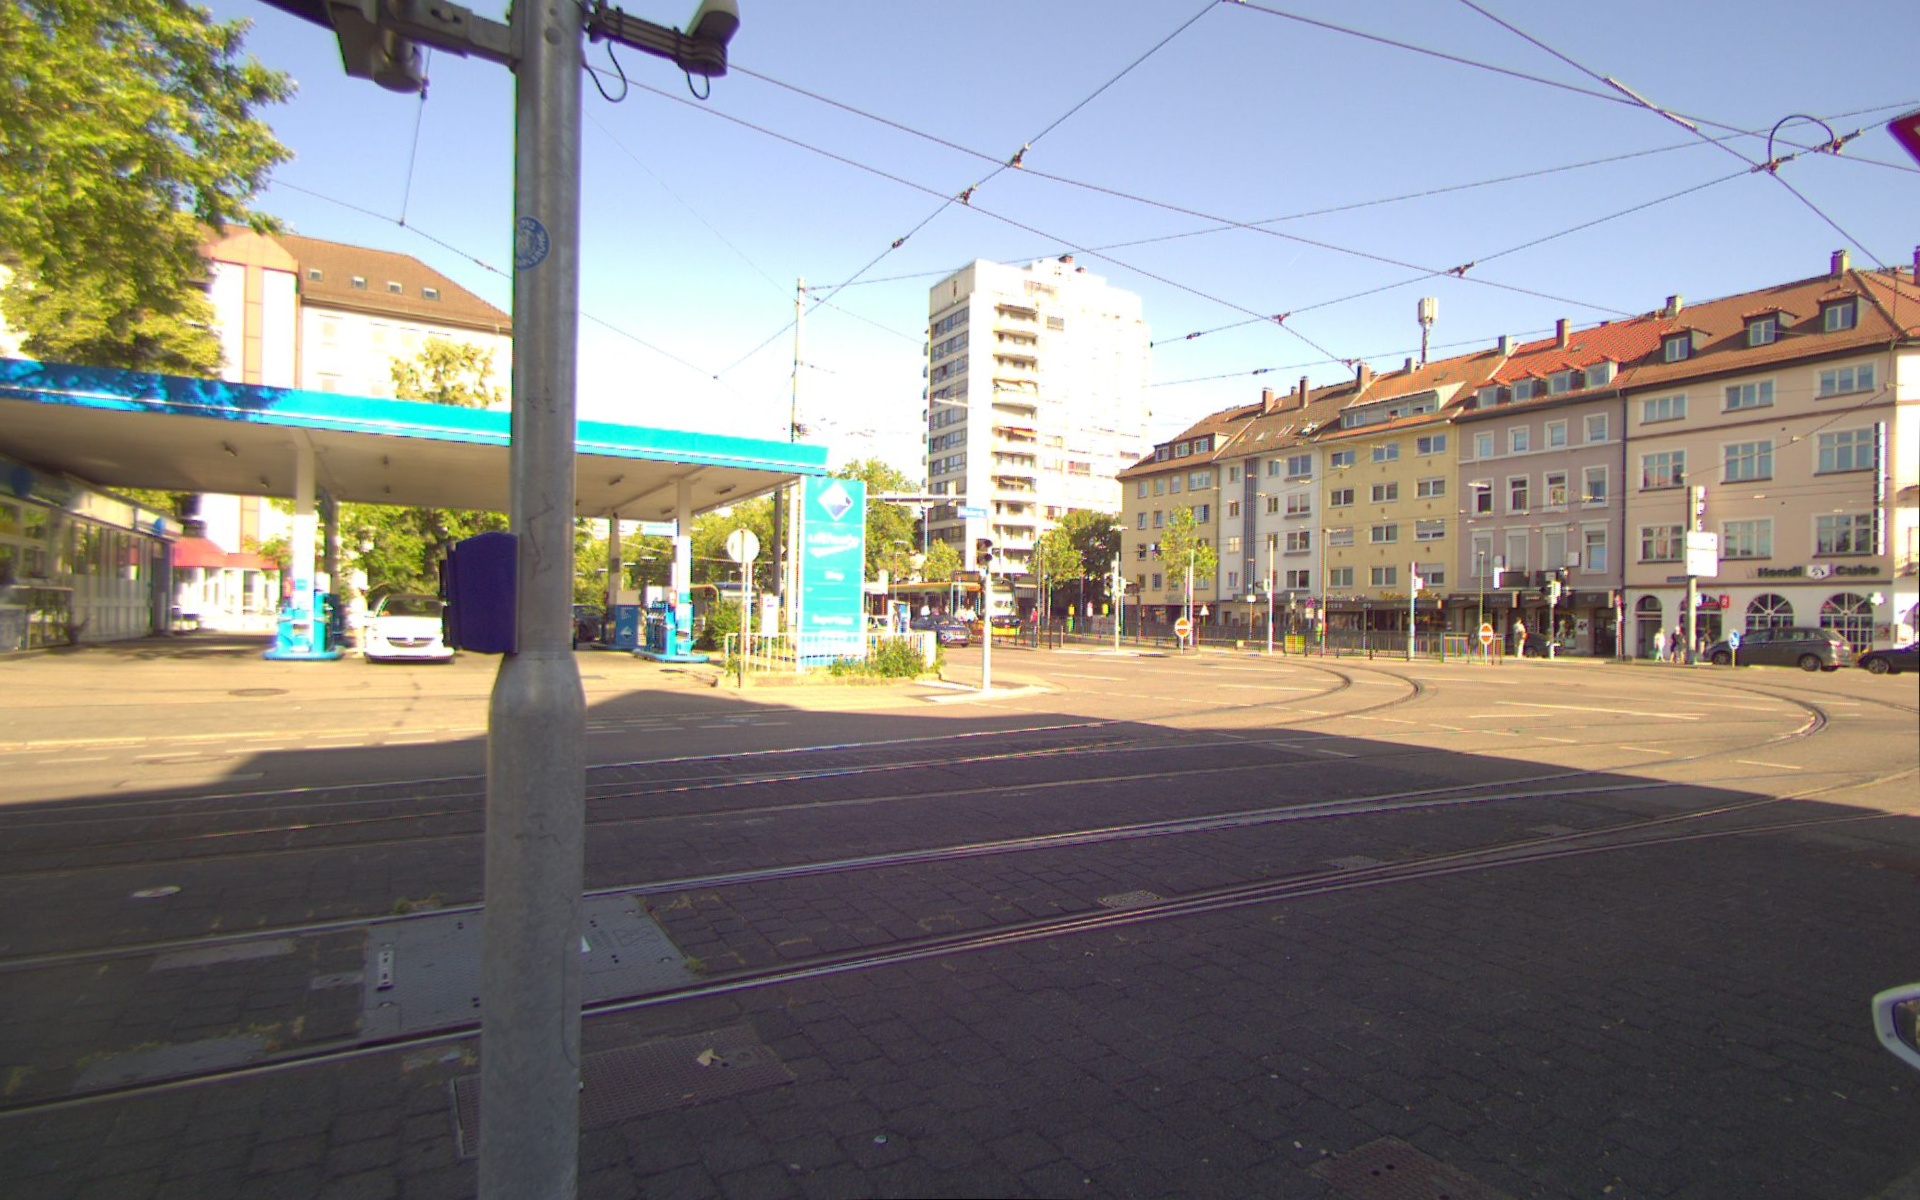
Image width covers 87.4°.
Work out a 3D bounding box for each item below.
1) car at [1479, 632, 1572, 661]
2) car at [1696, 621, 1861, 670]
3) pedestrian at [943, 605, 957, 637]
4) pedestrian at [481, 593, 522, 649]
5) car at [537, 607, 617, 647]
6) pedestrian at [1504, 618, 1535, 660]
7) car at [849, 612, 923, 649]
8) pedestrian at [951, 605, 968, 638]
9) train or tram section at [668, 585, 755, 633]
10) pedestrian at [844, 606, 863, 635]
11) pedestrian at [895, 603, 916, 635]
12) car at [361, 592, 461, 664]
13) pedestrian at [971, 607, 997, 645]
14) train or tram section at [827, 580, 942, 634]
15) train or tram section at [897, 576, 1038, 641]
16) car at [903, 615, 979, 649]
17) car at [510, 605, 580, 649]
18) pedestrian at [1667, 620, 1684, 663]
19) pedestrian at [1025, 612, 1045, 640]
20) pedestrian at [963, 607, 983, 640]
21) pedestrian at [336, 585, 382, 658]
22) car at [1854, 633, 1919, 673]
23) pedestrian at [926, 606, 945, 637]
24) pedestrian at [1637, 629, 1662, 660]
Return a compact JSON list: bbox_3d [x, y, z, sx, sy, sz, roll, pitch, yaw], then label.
[{"bbox_3d":[30.769,2.498,54.713,1.980,1.483,3.962,1,-1,-34],"label":"car"},{"bbox_3d":[31.012,1.688,38.217,1.976,1.694,4.489,1,-1,-30],"label":"car"},{"bbox_3d":[-0.552,1.117,54.171,0.491,1.721,0.553,1,-1,-33],"label":"pedestrian"},{"bbox_3d":[-15.375,0.696,33.691,0.896,1.826,0.893,0,-1,34],"label":"pedestrian"},{"bbox_3d":[-17.210,1.212,45.383,1.960,1.685,4.001,1,-1,2],"label":"car"},{"bbox_3d":[24.489,1.696,43.953,0.801,1.842,0.871,1,-1,-29],"label":"pedestrian"},{"bbox_3d":[-3.513,1.394,46.806,1.976,1.615,3.970,1,-1,-29],"label":"car"},{"bbox_3d":[-0.016,1.130,53.303,0.549,1.721,0.740,1,-1,-33],"label":"pedestrian"},{"bbox_3d":[-15.036,0.452,60.040,2.233,2.627,10.398,2,0,-30],"label":"train or tram section"},{"bbox_3d":[-6.845,1.301,64.343,0.902,1.826,0.887,1,-1,-33],"label":"pedestrian"},{"bbox_3d":[-3.192,1.099,58.608,0.902,1.826,0.887,1,-1,-33],"label":"pedestrian"},{"bbox_3d":[-12.280,0.606,22.434,1.773,1.461,3.968,2,-1,-30],"label":"car"},{"bbox_3d":[1.173,1.244,48.394,0.902,1.826,0.887,1,-1,-33],"label":"pedestrian"},{"bbox_3d":[-5.256,0.522,67.582,3.252,3.335,10.157,1,-1,-33],"label":"train or tram section"},{"bbox_3d":[0.224,0.519,58.963,3.252,3.459,10.157,1,-1,-33],"label":"train or tram section"},{"bbox_3d":[-0.965,1.492,48.348,1.937,1.475,4.077,1,0,-30],"label":"car"},{"bbox_3d":[-13.509,0.864,32.578,1.752,1.332,3.520,1,-1,-28],"label":"car"},{"bbox_3d":[34.204,1.985,48.018,0.498,2.040,0.507,1,-1,-27],"label":"pedestrian"},{"bbox_3d":[5.561,1.932,74.426,0.942,2.040,1.214,1,-1,-25],"label":"pedestrian"},{"bbox_3d":[0.663,1.217,52.086,0.791,1.646,0.706,1,-1,-33],"label":"pedestrian"},{"bbox_3d":[-13.887,0.504,23.239,0.801,1.652,0.643,1,-1,-24],"label":"pedestrian"},{"bbox_3d":[35.217,1.931,35.927,1.977,1.358,4.487,1,-1,-31],"label":"car"},{"bbox_3d":[-1.349,1.170,54.938,0.773,1.721,0.692,1,-1,-33],"label":"pedestrian"},{"bbox_3d":[35.208,2.252,51.299,0.849,1.547,0.786,1,-1,-29],"label":"pedestrian"}]
